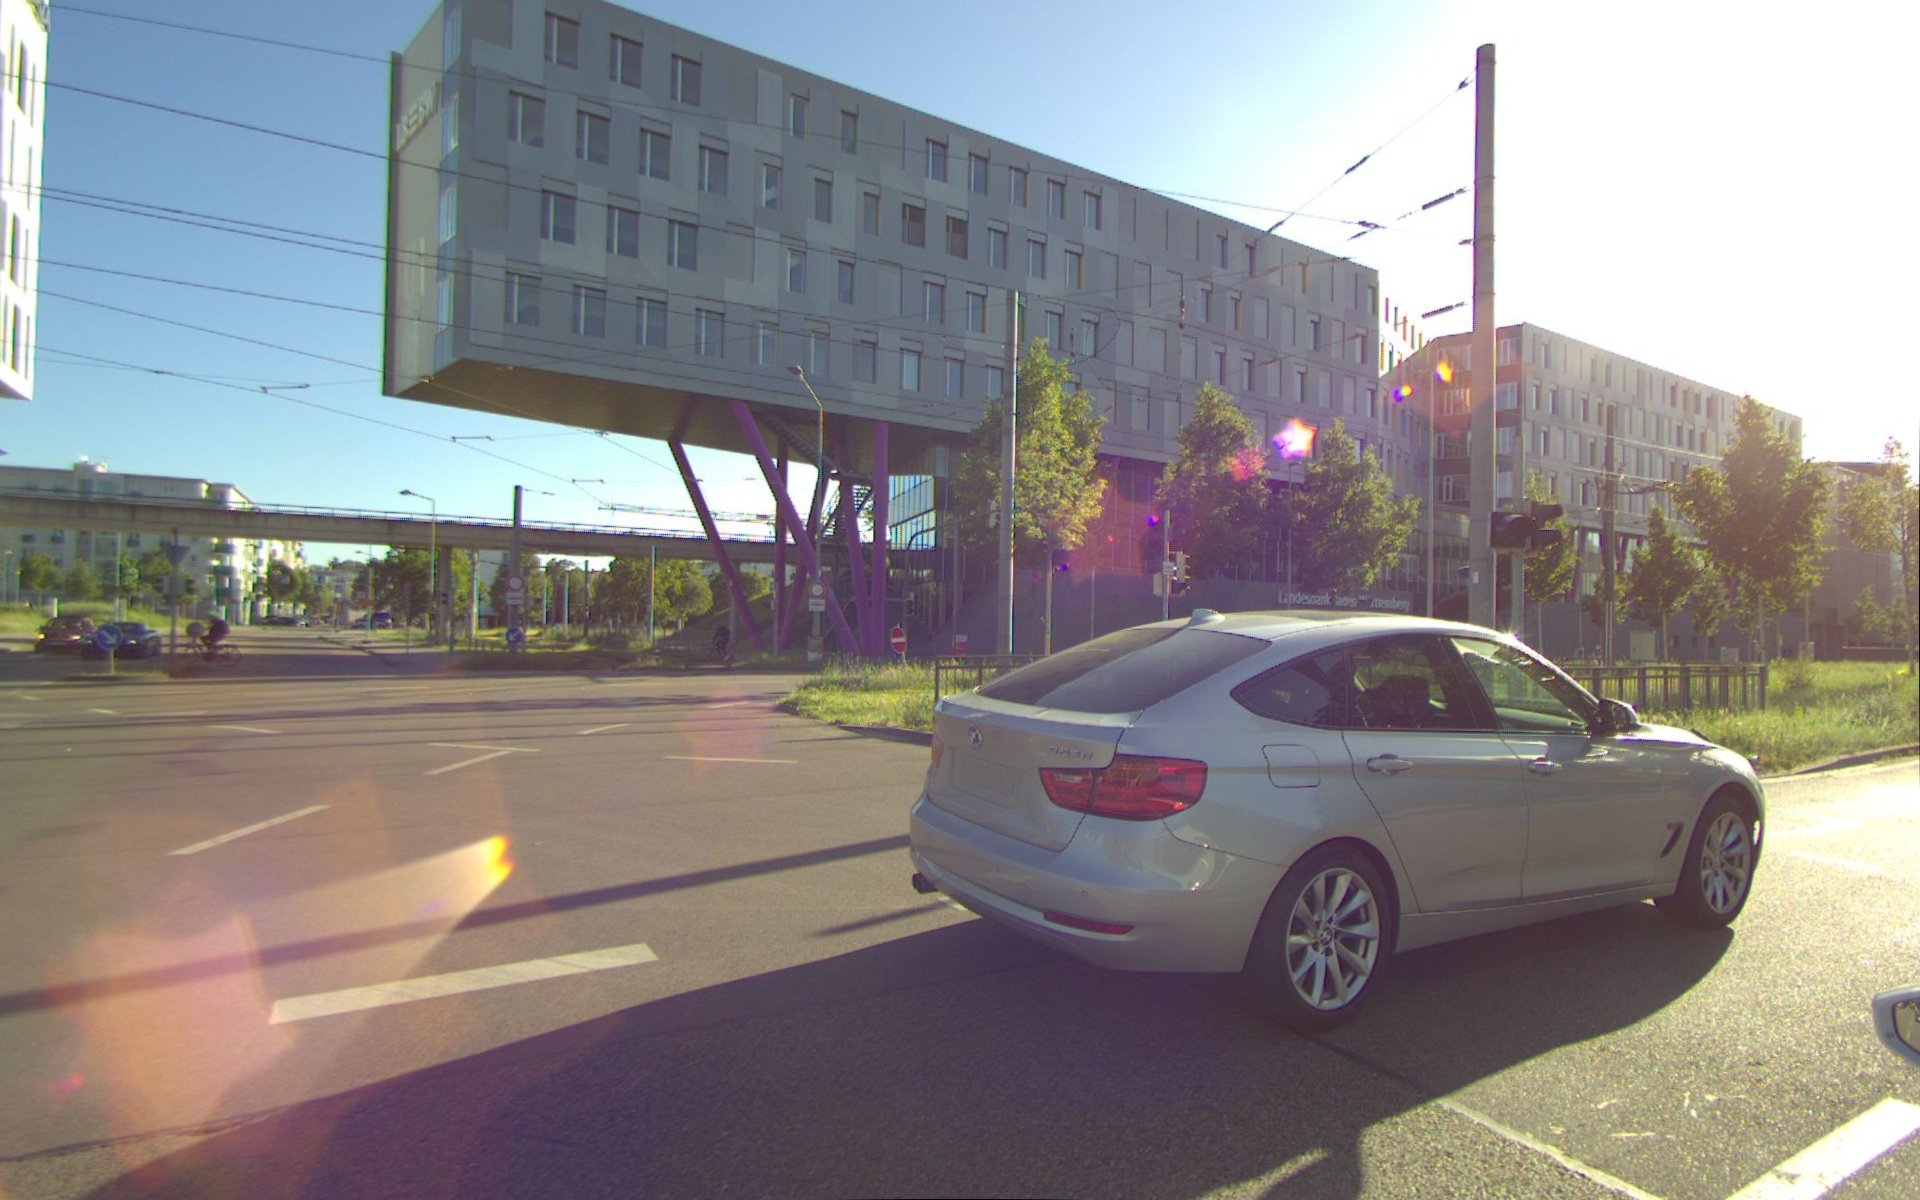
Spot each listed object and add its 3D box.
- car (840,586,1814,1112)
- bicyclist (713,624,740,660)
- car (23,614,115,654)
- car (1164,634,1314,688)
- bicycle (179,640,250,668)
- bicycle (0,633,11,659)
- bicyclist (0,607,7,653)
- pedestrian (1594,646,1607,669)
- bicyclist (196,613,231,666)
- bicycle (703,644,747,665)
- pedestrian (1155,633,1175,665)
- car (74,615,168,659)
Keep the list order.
[{"bbox_3d":[2.021,0.824,4.962,4.852,1.547,1.790,3,0,-30],"label":"car"},{"bbox_3d":[-9.792,1.764,42.190,0.948,1.454,0.567,2,-1,-31],"label":"bicyclist"},{"bbox_3d":[-37.282,1.407,42.139,1.976,1.586,3.970,2,-2,-28],"label":"car"},{"bbox_3d":[8.991,1.952,32.259,4.821,1.582,1.982,2,-2,-34],"label":"car"},{"bbox_3d":[-24.595,1.780,33.163,1.813,0.874,0.525,2,-2,-31],"label":"bicycle"},{"bbox_3d":[-33.700,1.608,34.785,0.740,0.874,1.816,2,-2,-29],"label":"bicycle"},{"bbox_3d":[-33.658,1.026,34.739,0.742,1.604,0.949,2,-1,-30],"label":"bicyclist"},{"bbox_3d":[56.368,5.046,88.382,0.682,2.040,0.732,2,-2,-31],"label":"pedestrian"},{"bbox_3d":[-24.626,1.299,33.145,0.828,1.749,0.527,2,-1,-31],"label":"bicyclist"},{"bbox_3d":[-9.849,2.293,42.147,1.673,0.874,0.573,2,-2,-31],"label":"bicycle"},{"bbox_3d":[11.970,2.871,58.618,0.861,1.846,0.717,2,-2,-32],"label":"pedestrian"},{"bbox_3d":[-32.396,1.406,38.921,1.976,1.586,3.970,2,-2,-28],"label":"car"}]
